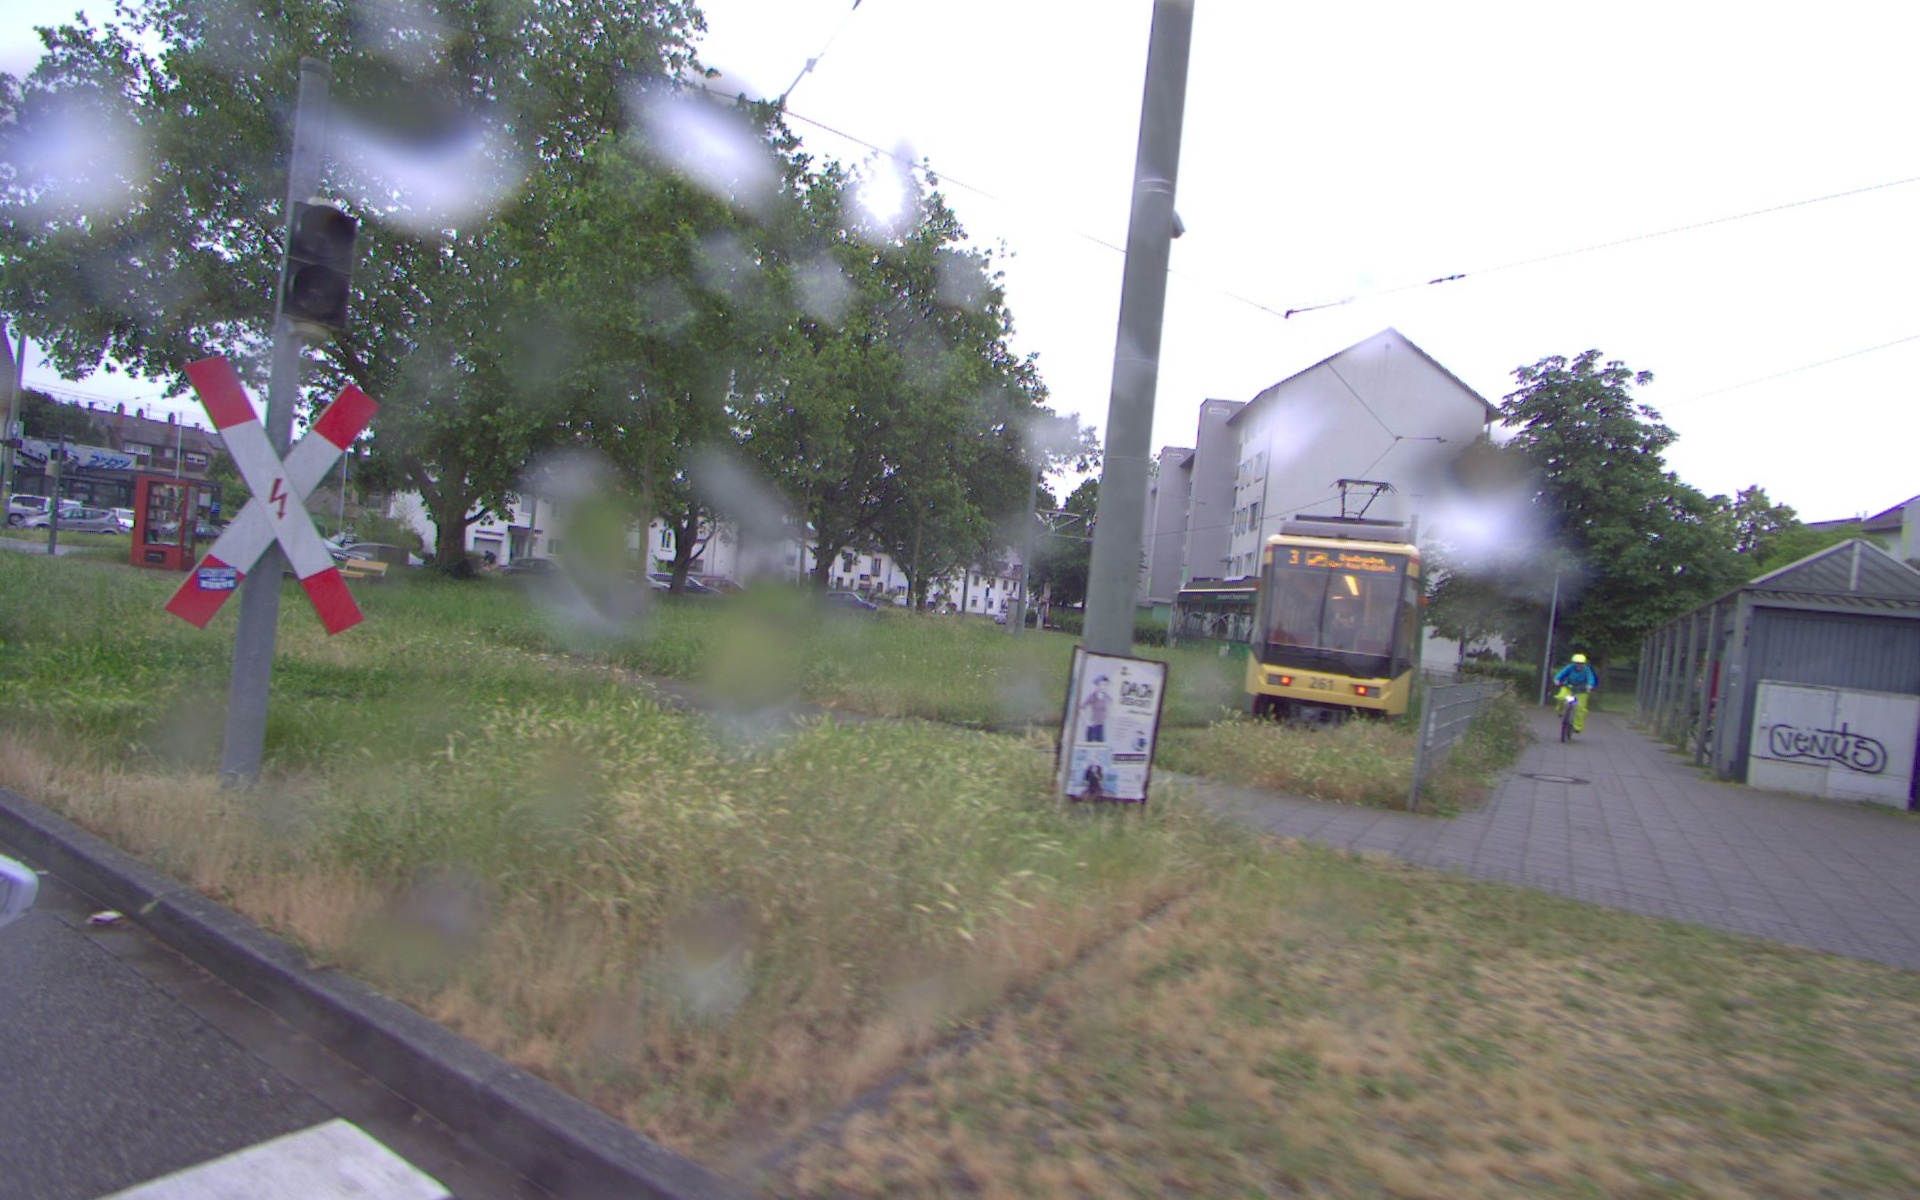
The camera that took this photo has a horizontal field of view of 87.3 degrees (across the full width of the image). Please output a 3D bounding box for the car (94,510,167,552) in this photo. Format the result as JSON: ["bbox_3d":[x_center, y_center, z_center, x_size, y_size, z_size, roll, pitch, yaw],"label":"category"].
[{"bbox_3d":[-44.661,-3.721,54.146,3.939,1.811,1.995,5,-2,37],"label":"car"}]

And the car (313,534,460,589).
[{"bbox_3d":[-19.930,-1.315,35.094,1.820,1.300,3.986,5,-3,39],"label":"car"}]

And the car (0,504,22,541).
[{"bbox_3d":[-46.865,-3.848,48.245,1.828,1.659,3.969,8,-2,-32],"label":"car"}]

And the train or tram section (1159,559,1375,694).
[{"bbox_3d":[10.001,0.783,34.875,2.719,3.597,12.196,6,0,-4],"label":"train or tram section"}]

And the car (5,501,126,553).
[{"bbox_3d":[-41.209,-3.338,46.431,1.860,1.720,3.691,6,-3,33],"label":"car"}]

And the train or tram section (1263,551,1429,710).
[{"bbox_3d":[10.154,0.750,27.045,2.716,3.599,4.988,6,1,7],"label":"train or tram section"}]

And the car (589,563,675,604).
[{"bbox_3d":[-16.528,-0.782,50.836,3.854,1.512,1.807,8,-2,-14],"label":"car"}]

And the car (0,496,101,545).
[{"bbox_3d":[-49.250,-4.270,54.179,1.967,1.973,3.996,6,-2,30],"label":"car"}]

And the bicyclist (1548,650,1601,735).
[{"bbox_3d":[11.576,1.749,18.989,0.626,1.491,1.108,6,-2,27],"label":"bicyclist"}]

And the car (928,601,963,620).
[{"bbox_3d":[-1.618,1.179,113.971,1.967,1.681,3.995,6,-3,31],"label":"car"}]

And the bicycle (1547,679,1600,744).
[{"bbox_3d":[11.567,2.081,19.020,0.590,1.080,2.030,6,-1,27],"label":"bicycle"}]

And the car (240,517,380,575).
[{"bbox_3d":[-24.124,-1.979,37.472,3.854,1.512,1.807,8,-2,-14],"label":"car"}]

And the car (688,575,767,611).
[{"bbox_3d":[-13.093,-0.382,56.877,3.842,1.513,1.812,7,-2,4],"label":"car"}]

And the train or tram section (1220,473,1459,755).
[{"bbox_3d":[7.631,0.452,19.794,2.719,3.597,13.126,6,0,23],"label":"train or tram section"}]

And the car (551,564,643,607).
[{"bbox_3d":[-17.402,-0.663,48.410,3.854,1.512,1.807,8,-2,-14],"label":"car"}]

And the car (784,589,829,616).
[{"bbox_3d":[-14.506,0.245,95.230,1.968,2.059,3.993,6,-3,33],"label":"car"}]

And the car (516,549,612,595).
[{"bbox_3d":[-18.035,-1.229,45.858,3.867,1.512,1.801,8,-2,-25],"label":"car"}]

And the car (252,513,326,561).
[{"bbox_3d":[-41.454,-3.916,62.159,4.282,2.471,1.997,6,-2,32],"label":"car"}]

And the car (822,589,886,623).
[{"bbox_3d":[-7.058,0.414,67.302,3.843,1.785,1.812,7,-2,1],"label":"car"}]

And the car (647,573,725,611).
[{"bbox_3d":[-14.617,-0.412,53.841,3.854,1.512,1.807,8,-2,-14],"label":"car"}]

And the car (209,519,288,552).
[{"bbox_3d":[-49.771,-4.494,70.444,1.816,1.658,3.994,6,-3,33],"label":"car"}]

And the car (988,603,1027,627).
[{"bbox_3d":[4.524,1.425,94.888,1.966,1.681,3.997,6,-3,30],"label":"car"}]
